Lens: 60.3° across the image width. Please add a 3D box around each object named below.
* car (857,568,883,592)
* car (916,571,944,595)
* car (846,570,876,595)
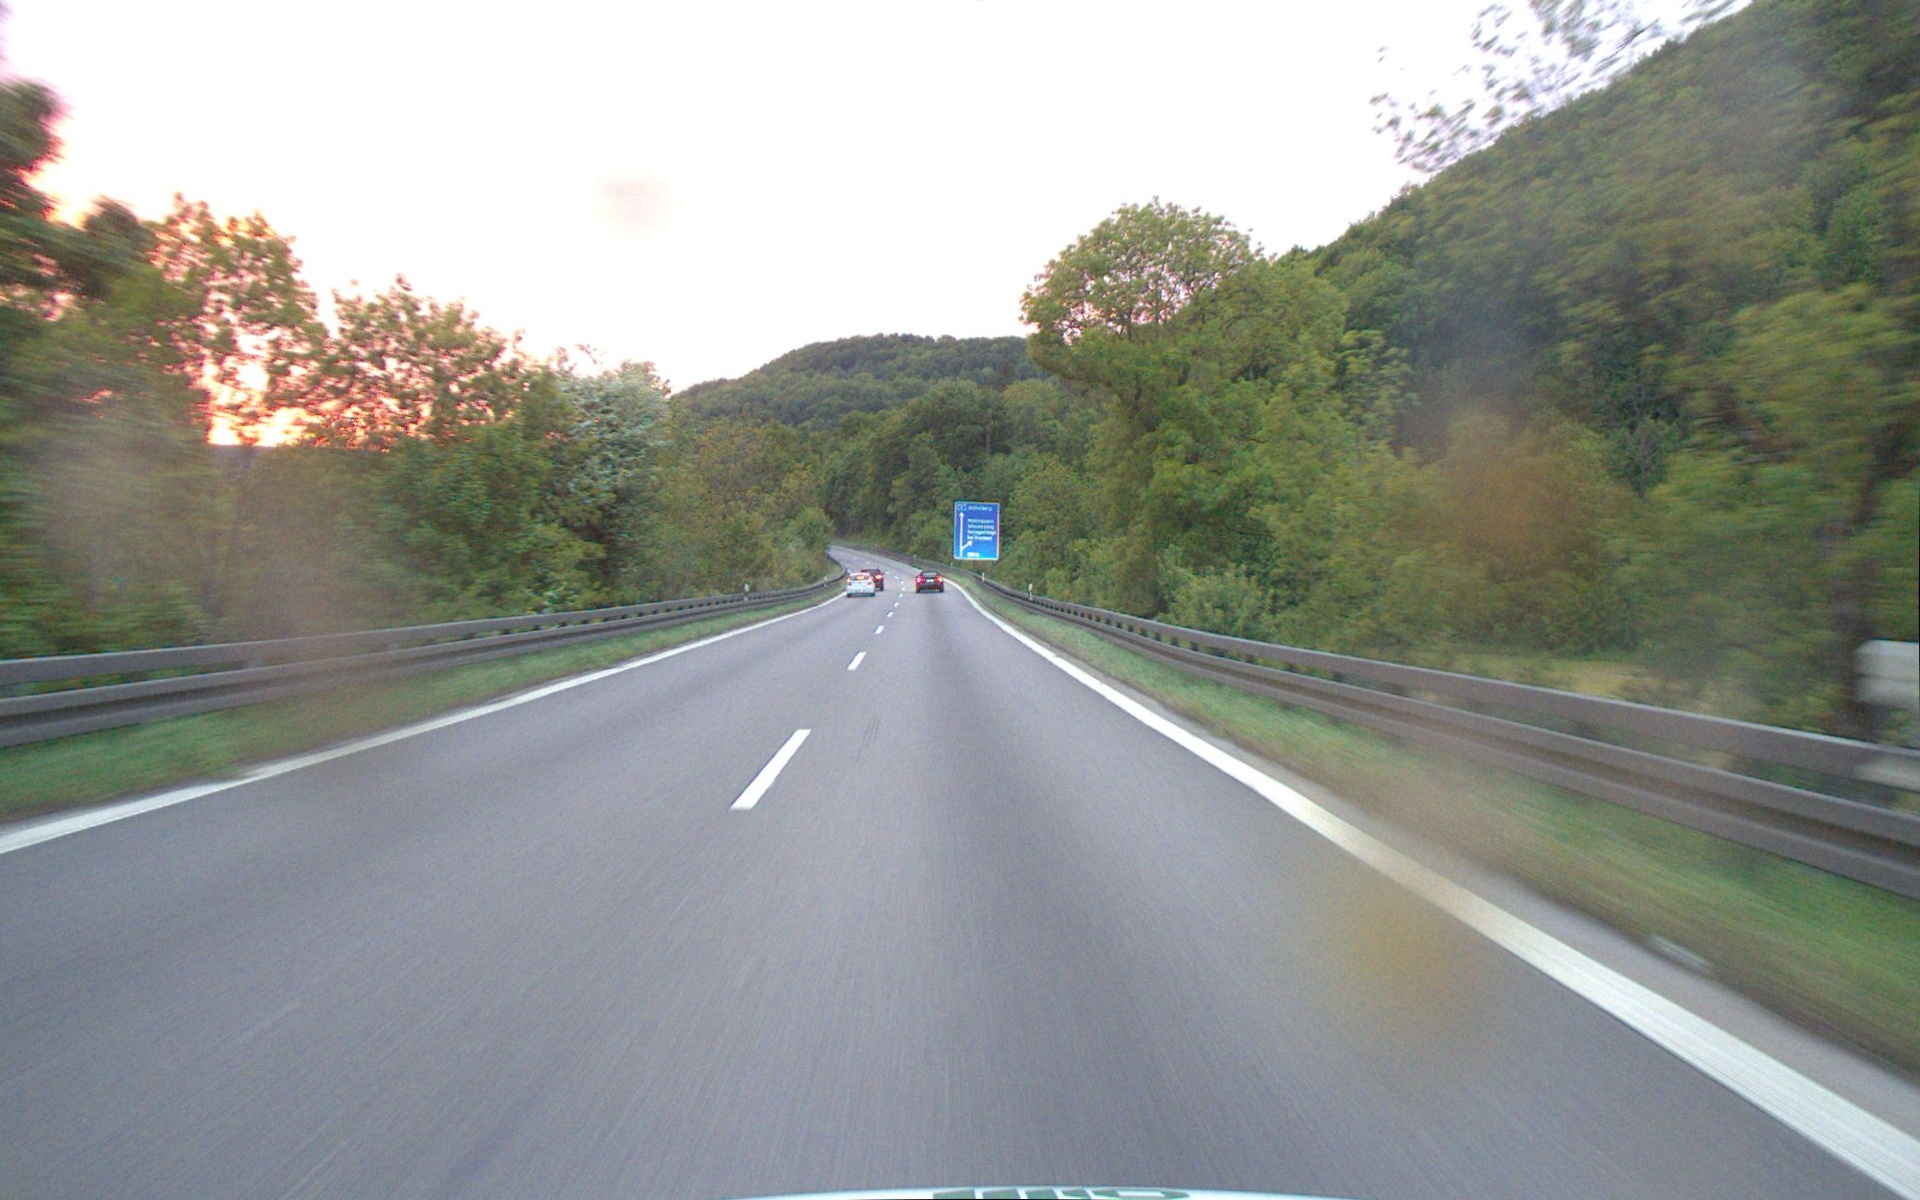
[{"bbox_3d":[-6.383,-1.440,117.417,1.683,1.663,3.999,0,1,-2],"label":"car"},{"bbox_3d":[-2.012,-1.153,109.993,1.840,1.492,3.999,0,1,-2],"label":"car"},{"bbox_3d":[-6.231,-1.139,104.410,1.683,1.527,3.999,0,1,-2],"label":"car"}]
